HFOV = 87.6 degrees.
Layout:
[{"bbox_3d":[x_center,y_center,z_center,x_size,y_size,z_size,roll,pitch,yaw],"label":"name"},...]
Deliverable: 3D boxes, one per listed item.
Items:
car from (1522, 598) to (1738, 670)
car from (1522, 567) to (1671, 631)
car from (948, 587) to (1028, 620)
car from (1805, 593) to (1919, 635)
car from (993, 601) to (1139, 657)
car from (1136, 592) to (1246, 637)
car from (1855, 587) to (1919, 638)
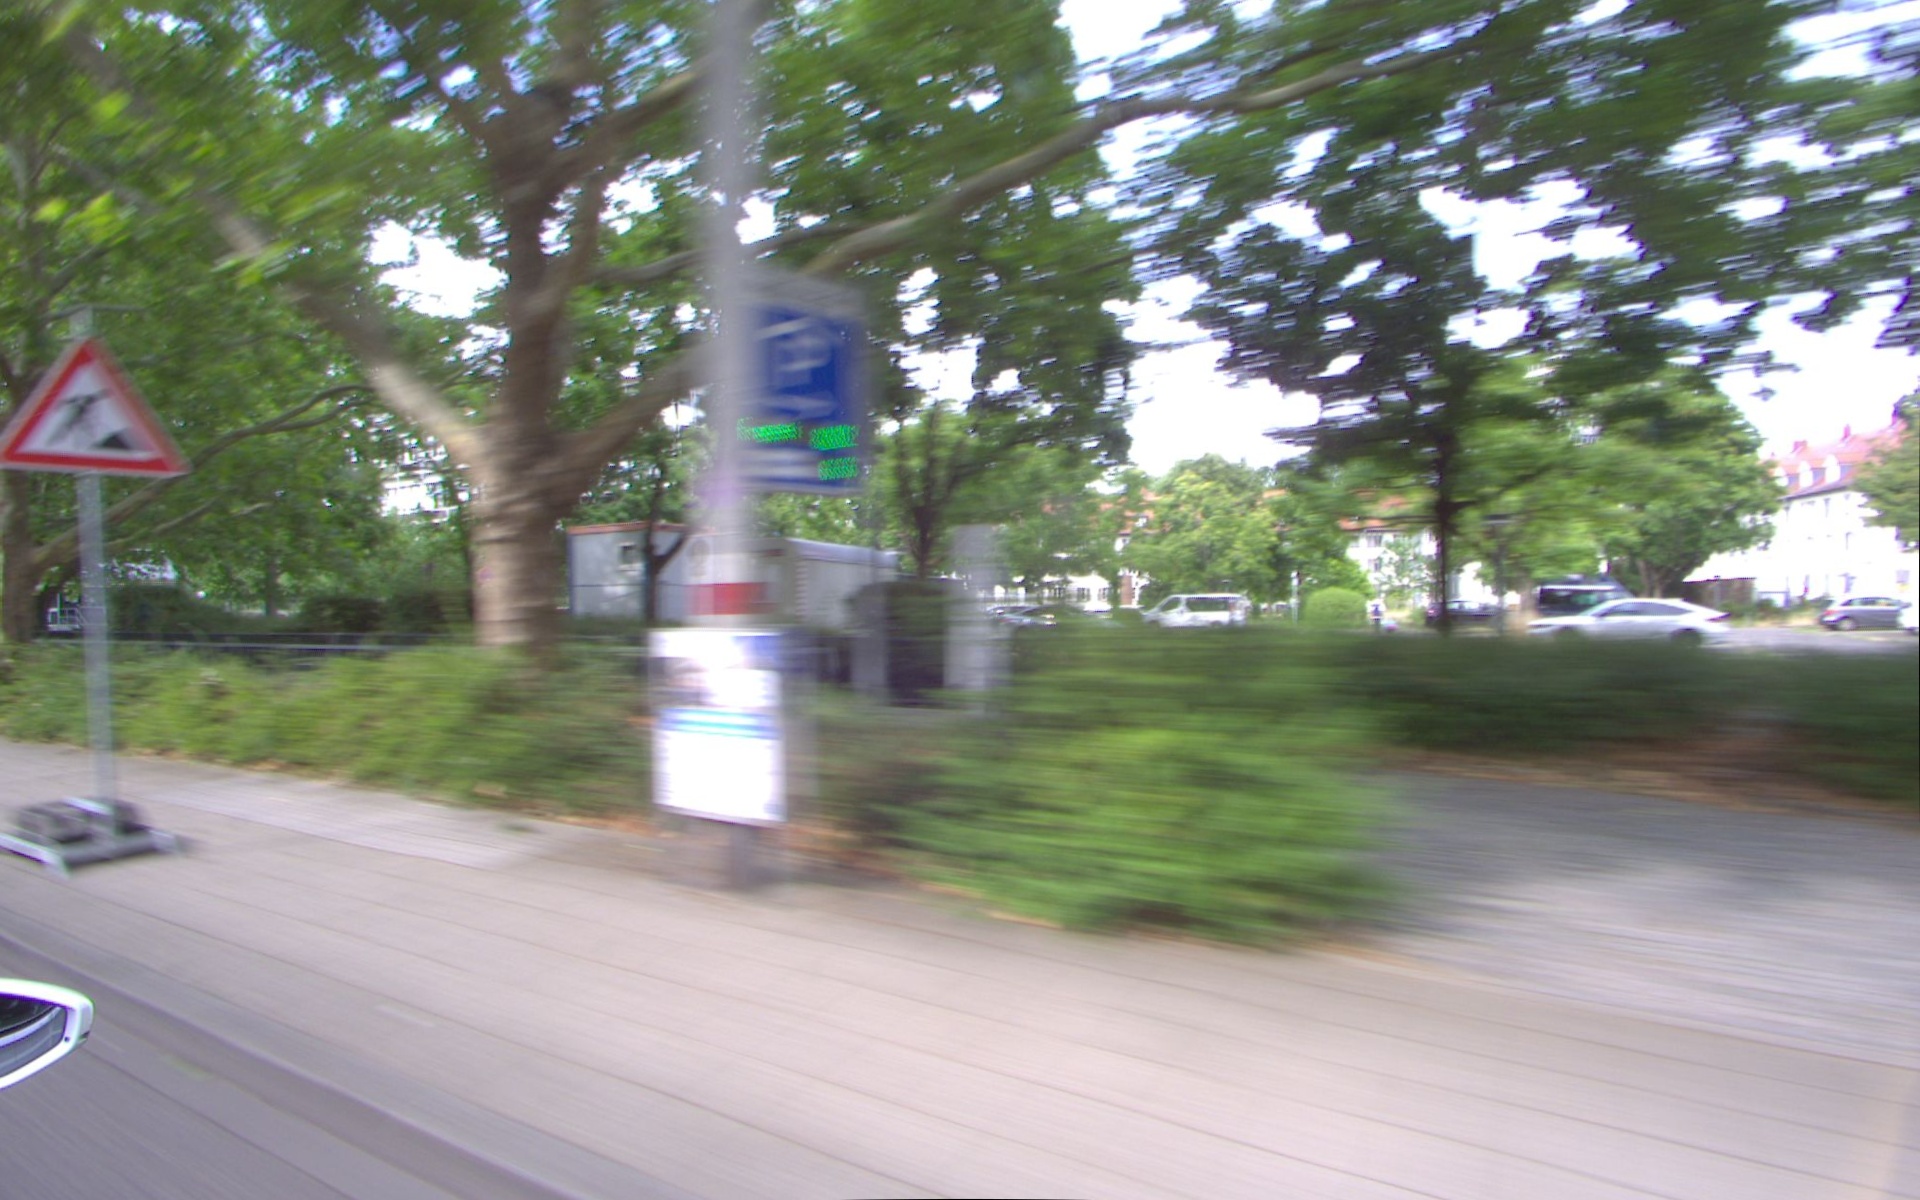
[{"bbox_3d":[18.052,0.889,27.300,4.700,1.817,1.992,0,-2,29],"label":"car"},{"bbox_3d":[28.046,-0.015,44.387,5.413,2.647,2.433,0,-2,29],"label":"car"},{"bbox_3d":[1.782,0.245,63.991,4.700,2.039,1.992,0,-2,29],"label":"car"},{"bbox_3d":[41.258,0.632,44.991,4.700,1.817,1.992,0,-2,29],"label":"car"},{"bbox_3d":[3.693,0.999,35.102,4.700,1.817,1.992,0,-2,29],"label":"car"},{"bbox_3d":[10.844,0.681,47.112,4.697,2.039,1.993,0,-2,27],"label":"car"},{"bbox_3d":[36.283,0.479,36.792,4.700,1.817,1.992,0,-2,29],"label":"car"}]
